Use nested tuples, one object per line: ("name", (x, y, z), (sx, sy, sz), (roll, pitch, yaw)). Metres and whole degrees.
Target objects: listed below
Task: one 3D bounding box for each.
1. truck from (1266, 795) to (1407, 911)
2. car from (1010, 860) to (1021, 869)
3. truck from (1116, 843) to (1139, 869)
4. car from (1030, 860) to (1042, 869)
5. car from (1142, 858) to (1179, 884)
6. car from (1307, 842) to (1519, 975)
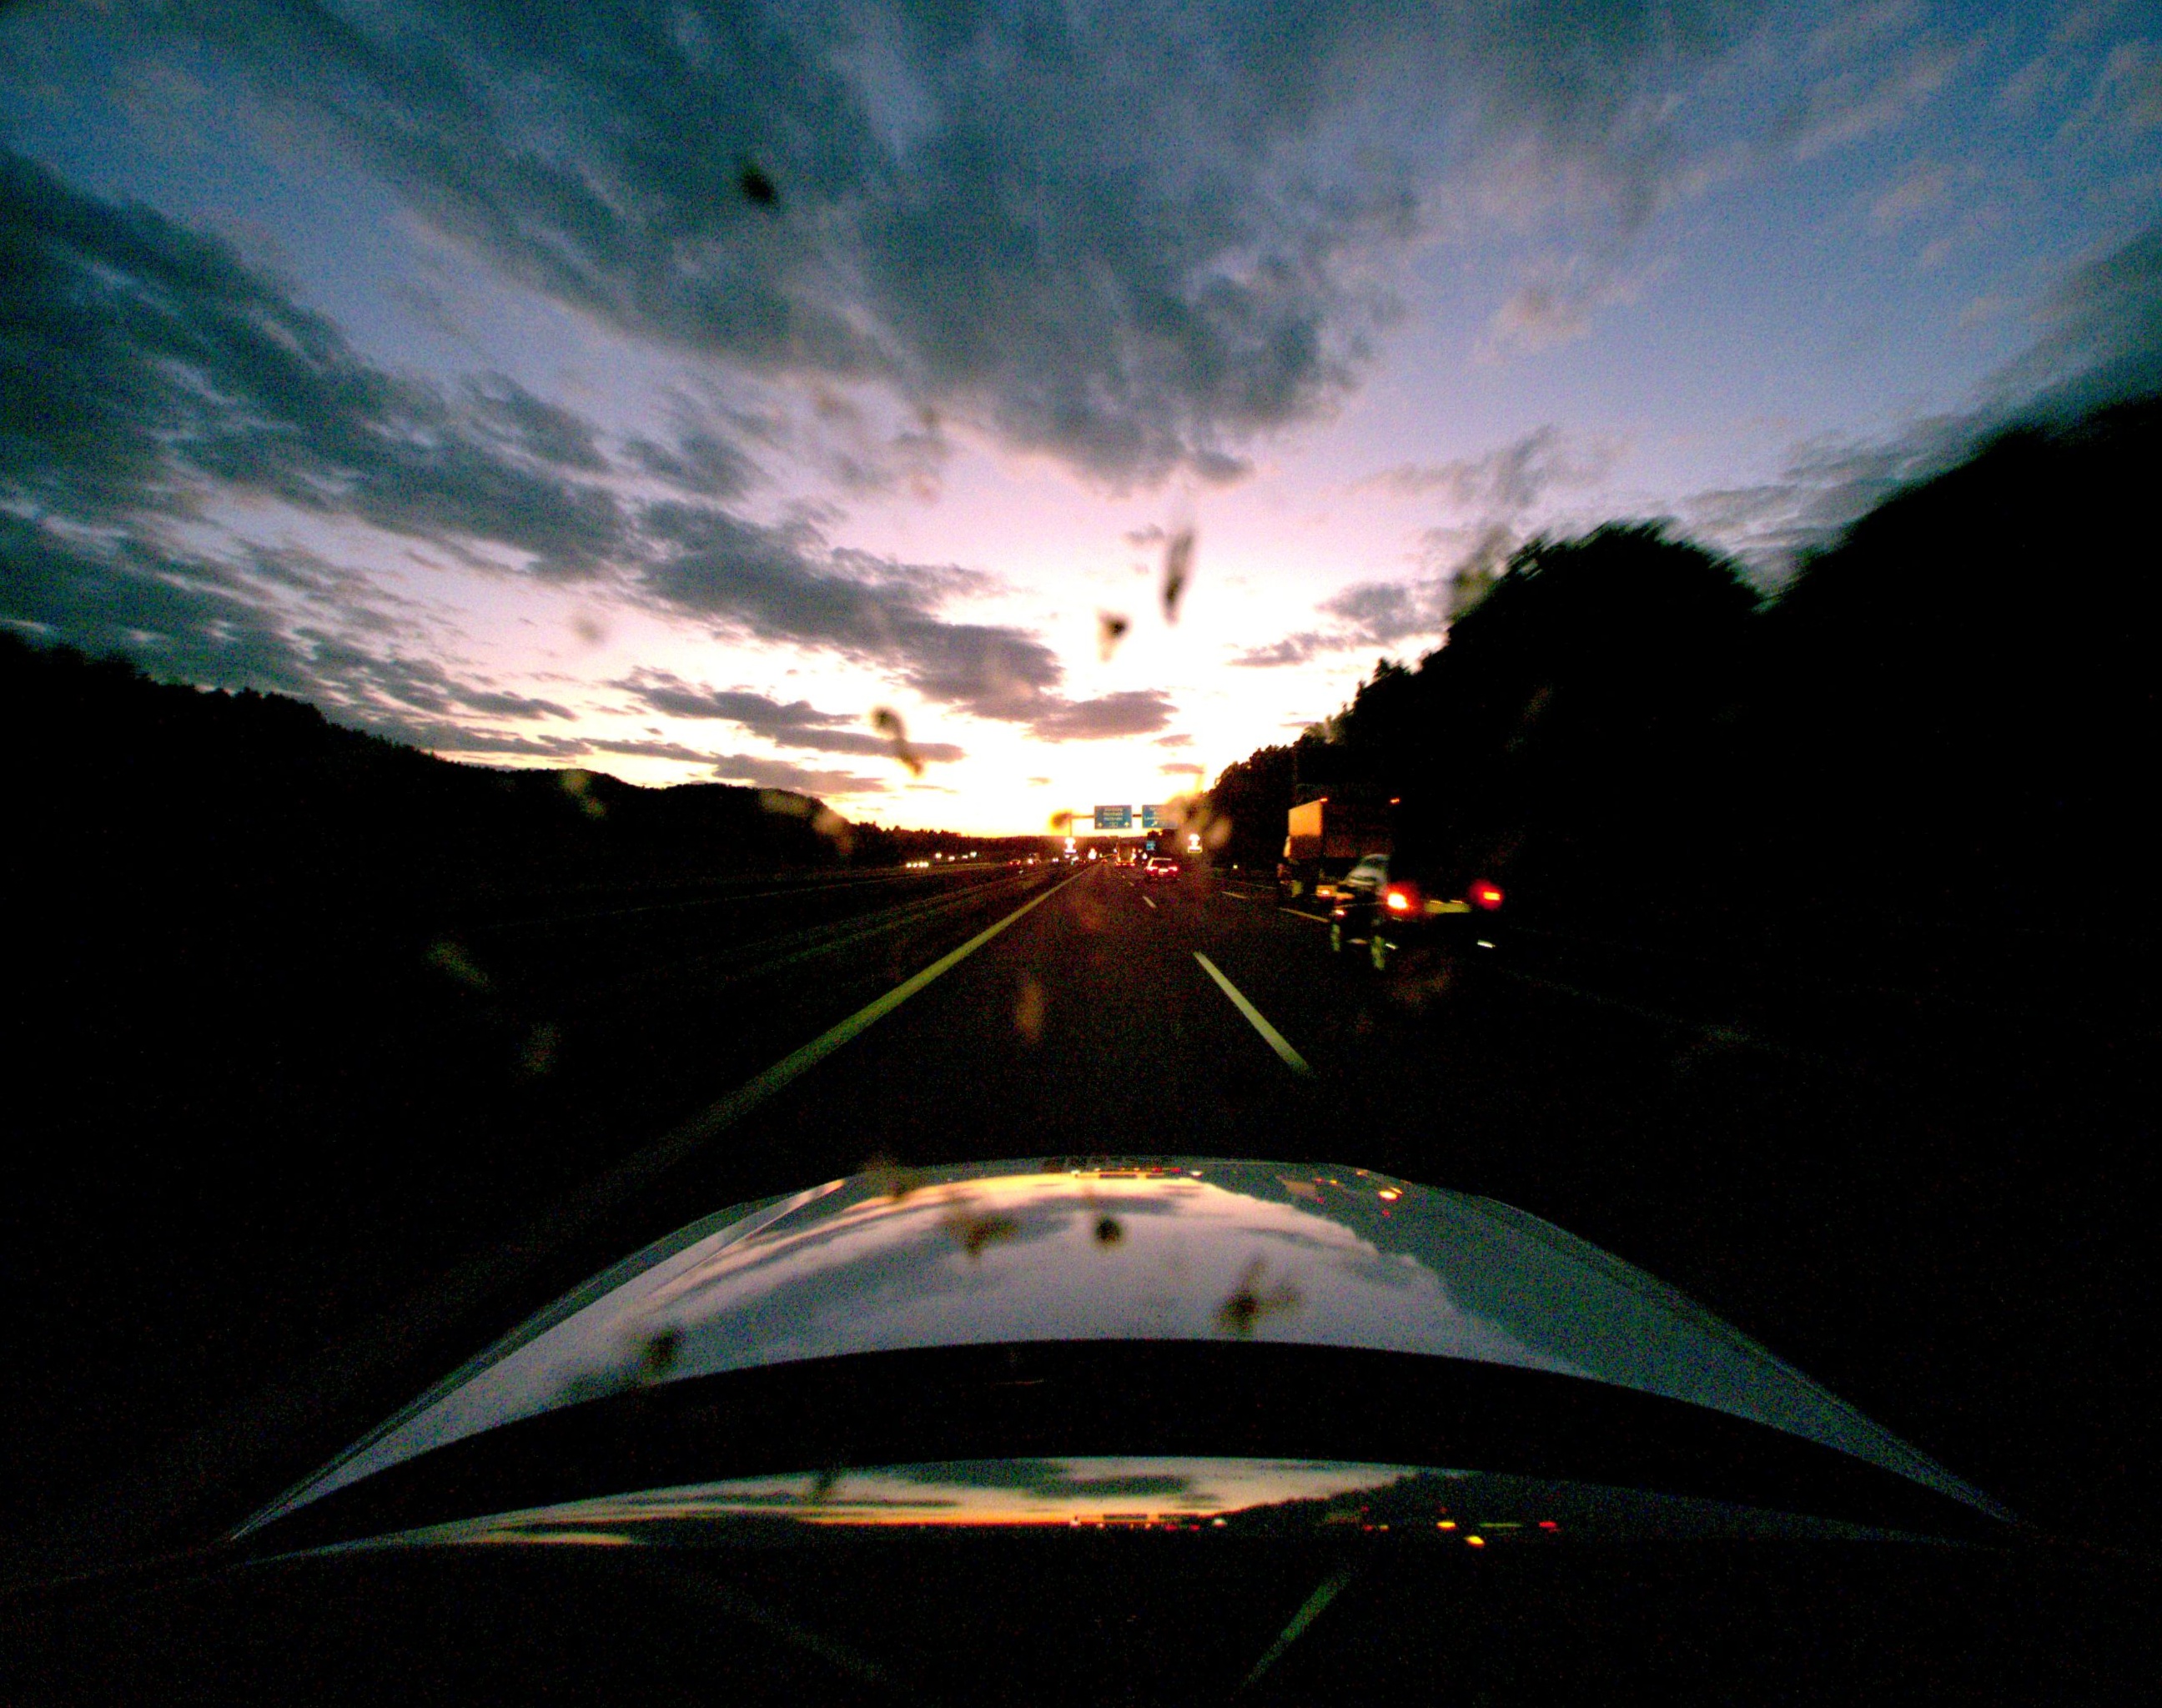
("truck", (7.400, -0.021, 24.507), (2.260, 2.972, 6.633), (1, 0, 1))
("car", (-11.560, 1.882, 143.855), (1.632, 1.546, 3.396), (-1, -1, 2))
("truck", (7.782, 0.368, 138.296), (3.497, 4.301, 9.893), (-1, -1, 1))
("car", (-7.827, 1.802, 141.107), (1.706, 1.606, 3.723), (-1, -1, 2))
("car", (4.718, 1.018, 48.722), (1.908, 1.442, 4.001), (-1, -1, 2))
("car", (4.432, 0.669, 11.397), (1.605, 1.556, 3.318), (-1, -1, 0))
